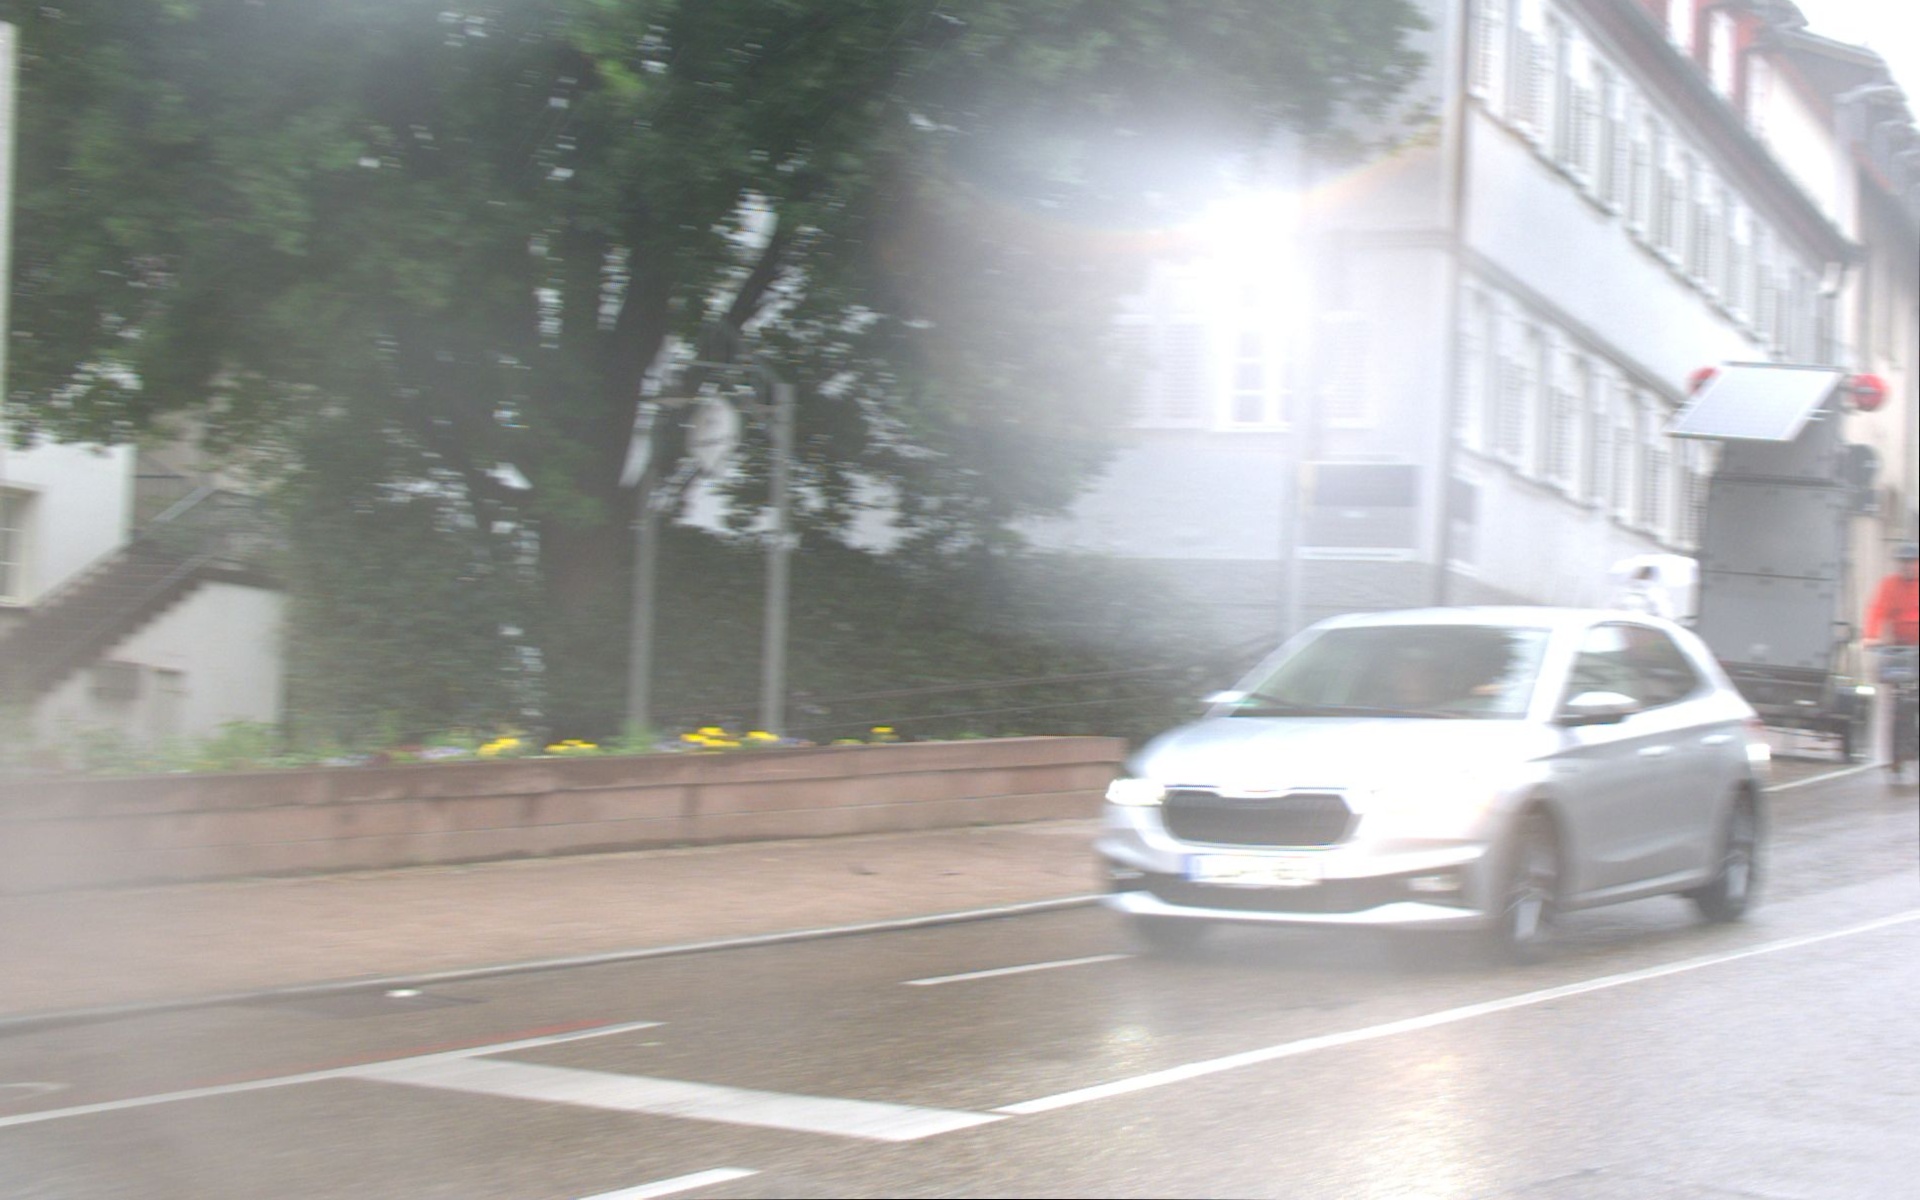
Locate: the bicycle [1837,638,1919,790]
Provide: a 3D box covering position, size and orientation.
[{"bbox_3d":[7.783,0.898,27.772,0.748,1.159,2.153,2,0,30],"label":"bicycle"}]

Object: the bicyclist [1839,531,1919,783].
[{"bbox_3d":[7.799,0.459,27.797,1.138,2.007,0.878,0,-1,31],"label":"bicyclist"}]

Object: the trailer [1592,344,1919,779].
[{"bbox_3d":[7.208,-0.302,30.363,1.996,3.522,4.568,2,0,25],"label":"trailer"}]

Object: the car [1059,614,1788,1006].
[{"bbox_3d":[2.092,0.792,14.564,1.665,1.423,3.864,-1,-1,31],"label":"car"}]

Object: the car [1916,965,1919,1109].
[{"bbox_3d":[4.547,0.730,10.930,1.890,1.443,4.349,2,0,29],"label":"car"}]

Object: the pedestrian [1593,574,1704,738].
[{"bbox_3d":[6.673,0.535,33.297,0.708,1.525,1.043,4,1,27],"label":"pedestrian"}]
